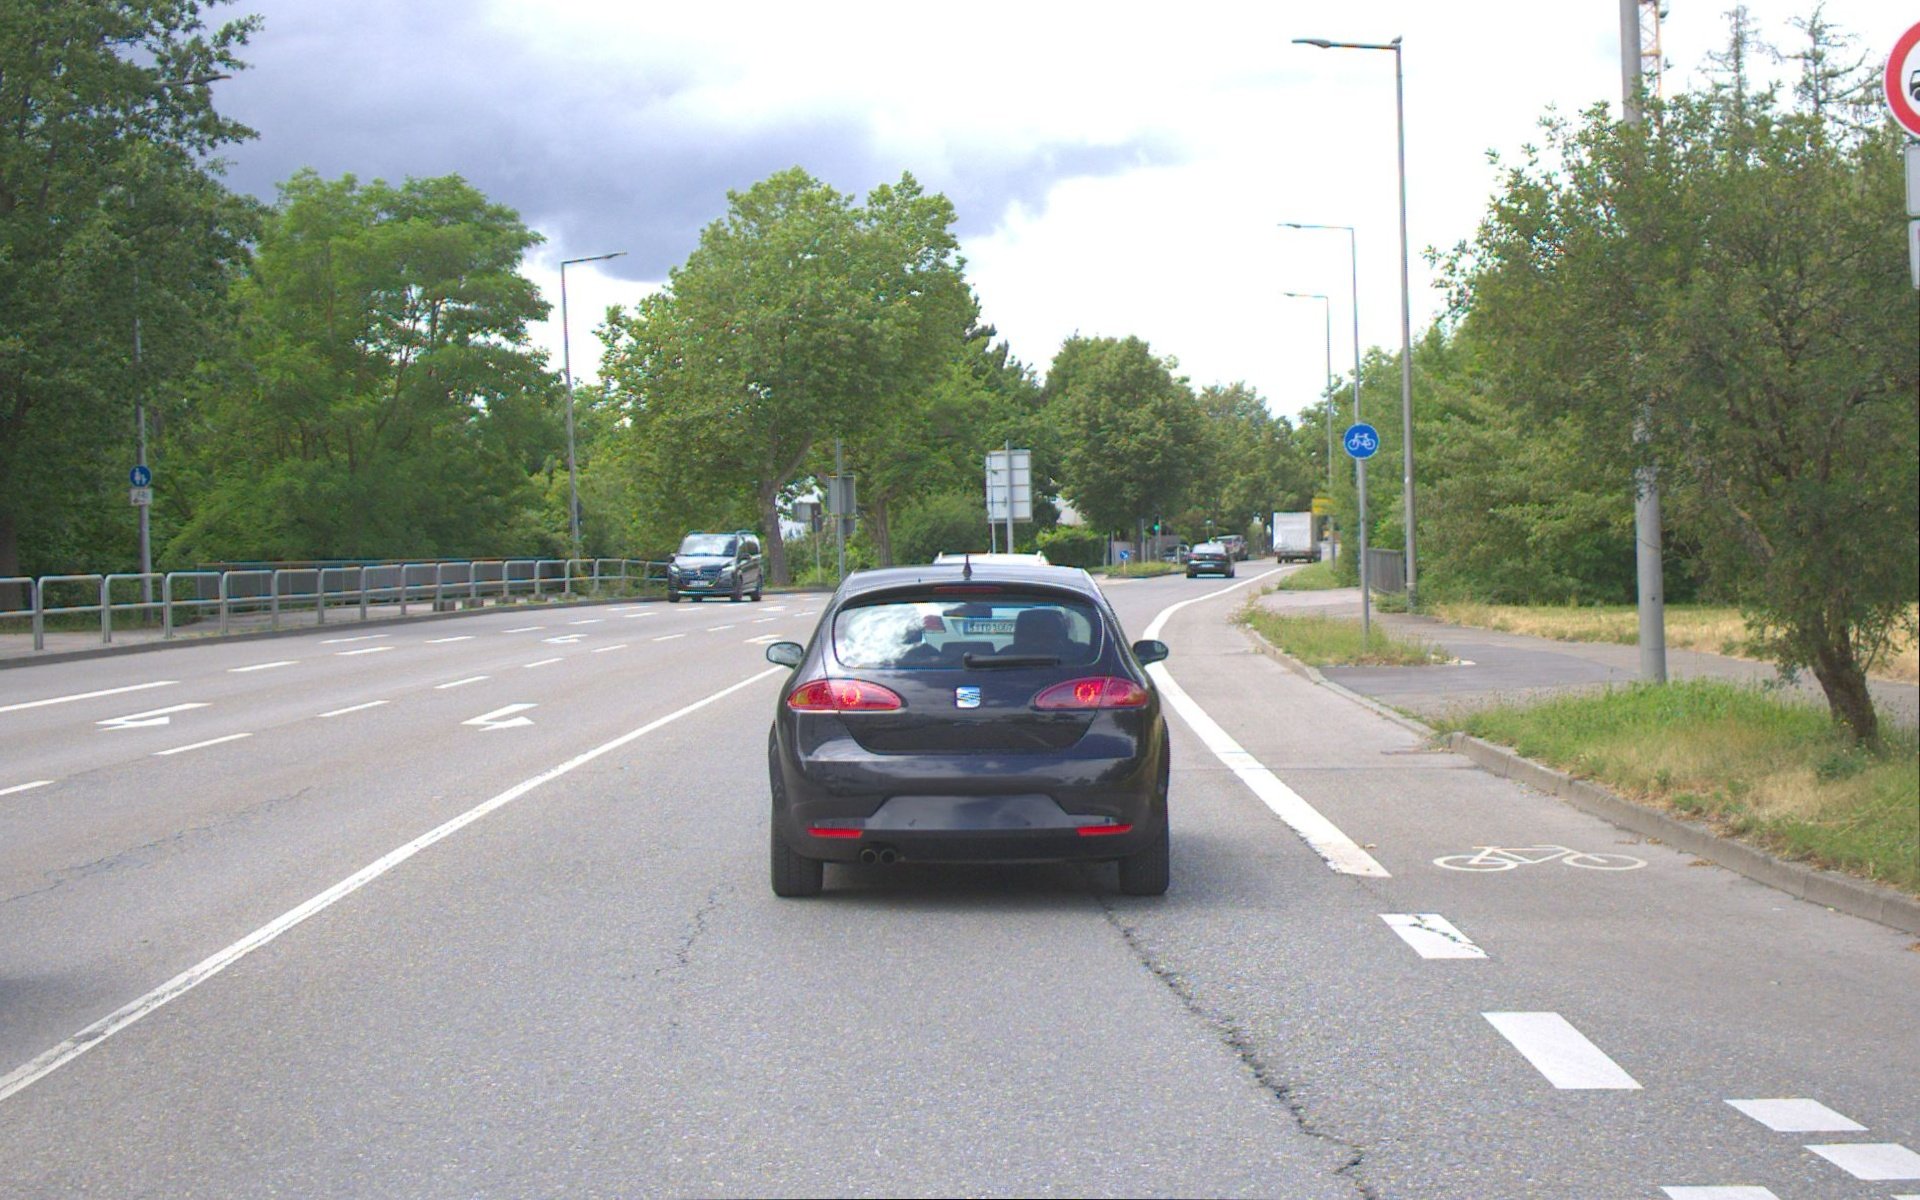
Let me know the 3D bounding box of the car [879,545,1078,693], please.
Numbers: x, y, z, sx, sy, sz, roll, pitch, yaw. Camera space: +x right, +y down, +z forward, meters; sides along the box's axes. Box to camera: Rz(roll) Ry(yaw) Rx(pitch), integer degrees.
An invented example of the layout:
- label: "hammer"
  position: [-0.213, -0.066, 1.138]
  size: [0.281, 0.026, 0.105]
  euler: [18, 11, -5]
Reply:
- label: "car"
  position: [0.142, 0.183, 36.257]
  size: [1.834, 1.462, 3.751]
  euler: [1, 0, -4]

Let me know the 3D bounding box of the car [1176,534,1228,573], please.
- label: "car"
  position: [9.969, -1.902, 141.296]
  size: [1.994, 1.560, 4.470]
  euler: [0, 1, 6]

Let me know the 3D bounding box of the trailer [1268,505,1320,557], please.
- label: "trailer"
  position: [20.130, -4.135, 206.954]
  size: [2.492, 3.063, 5.584]
  euler: [1, 0, 11]

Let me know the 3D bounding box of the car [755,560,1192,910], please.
- label: "car"
  position: [-0.043, 0.535, 15.824]
  size: [1.711, 1.412, 3.460]
  euler: [0, 1, -5]

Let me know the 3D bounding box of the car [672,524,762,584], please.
- label: "car"
  position: [-6.504, -1.221, 92.337]
  size: [1.715, 1.576, 3.741]
  euler: [1, 0, 7]
